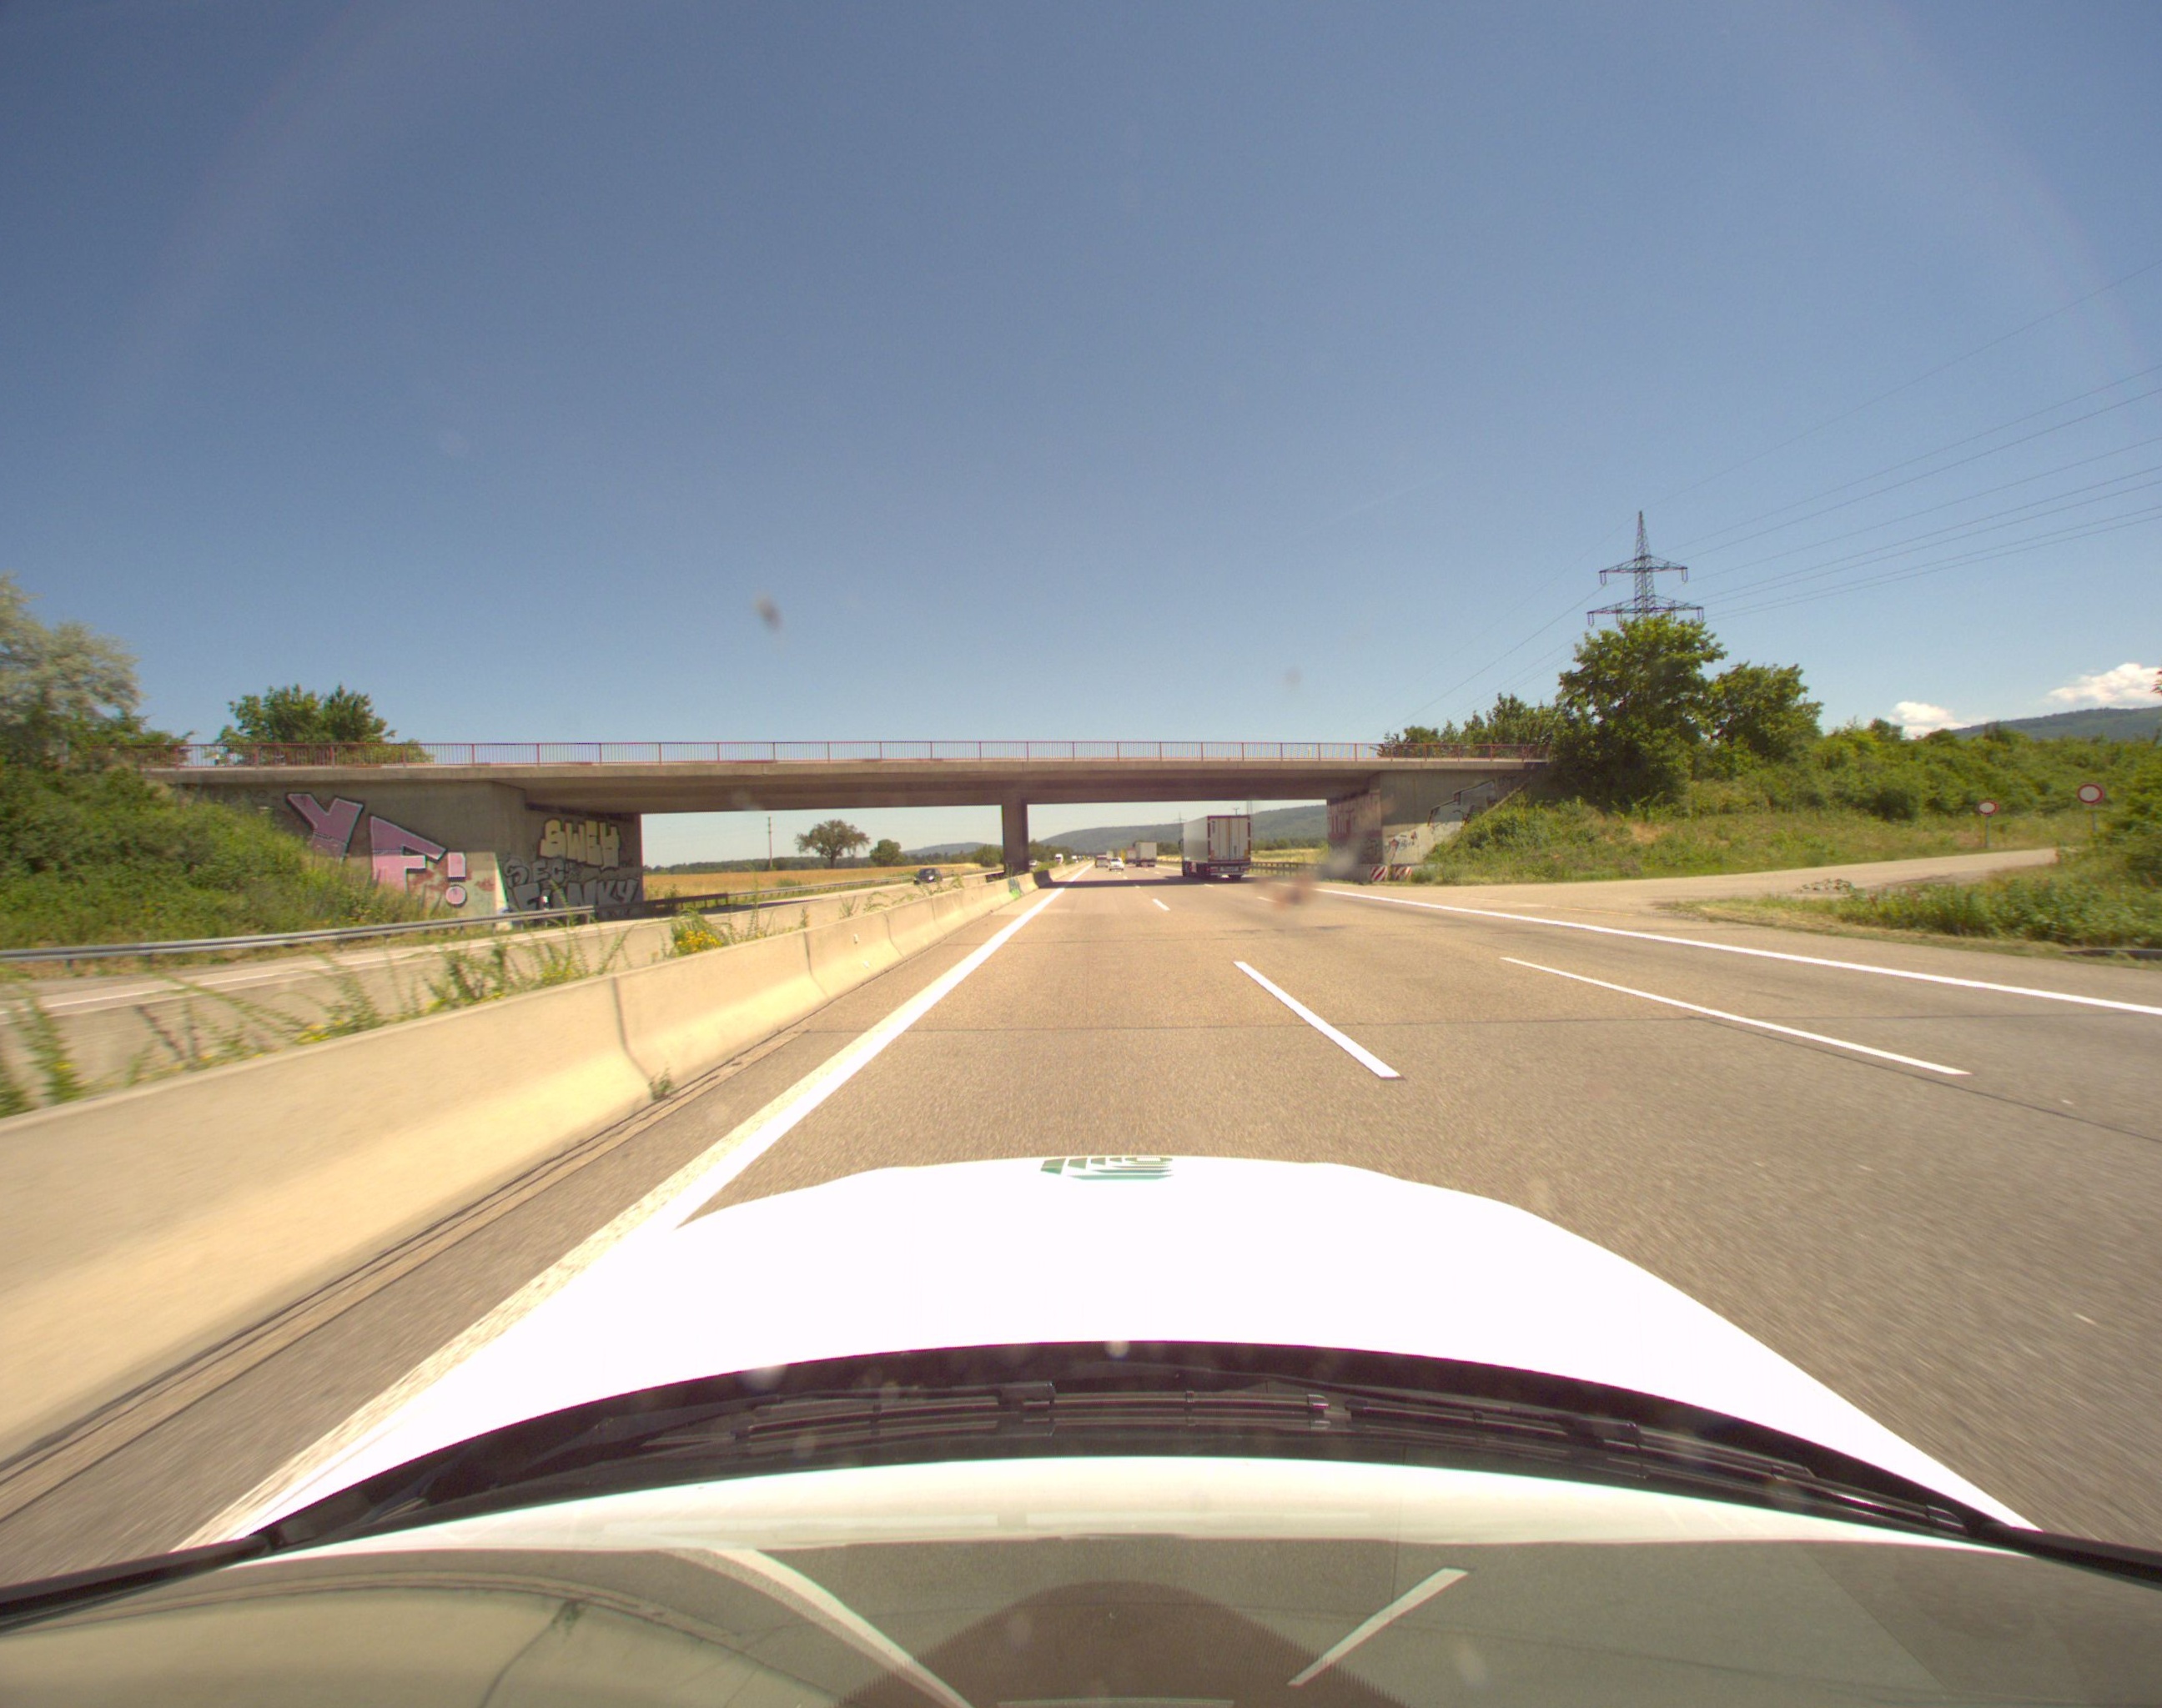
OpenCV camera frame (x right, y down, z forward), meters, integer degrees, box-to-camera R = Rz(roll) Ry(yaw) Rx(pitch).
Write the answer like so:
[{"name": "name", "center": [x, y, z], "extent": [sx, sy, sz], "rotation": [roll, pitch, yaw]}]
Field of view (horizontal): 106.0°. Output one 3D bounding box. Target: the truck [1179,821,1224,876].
[{"name": "truck", "center": [9.235, -0.403, 62.849], "extent": [2.740, 4.044, 5.467], "rotation": [0, -1, 1]}]

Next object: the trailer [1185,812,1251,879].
[{"name": "trailer", "center": [9.060, -0.461, 55.456], "extent": [2.699, 4.044, 12.905], "rotation": [0, 0, 2]}]

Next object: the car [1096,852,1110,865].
[{"name": "car", "center": [3.505, 0.738, 128.862], "extent": [2.246, 2.014, 4.299], "rotation": [0, -1, 2]}]

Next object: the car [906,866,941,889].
[{"name": "car", "center": [-11.936, 1.747, 61.809], "extent": [1.760, 1.618, 3.862], "rotation": [-3, 0, 1]}]

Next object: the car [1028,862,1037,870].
[{"name": "car", "center": [-12.466, 3.138, 211.312], "extent": [1.858, 1.944, 5.567], "rotation": [0, -1, 1]}]

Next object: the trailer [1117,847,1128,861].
[{"name": "trailer", "center": [13.254, 0.030, 260.855], "extent": [3.204, 4.564, 13.460], "rotation": [0, 0, 2]}]

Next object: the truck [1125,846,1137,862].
[{"name": "truck", "center": [12.482, 0.020, 203.644], "extent": [2.894, 4.101, 6.275], "rotation": [0, -1, 2]}]

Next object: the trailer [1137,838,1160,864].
[{"name": "trailer", "center": [10.969, -0.449, 133.124], "extent": [3.006, 4.061, 14.212], "rotation": [0, 0, 2]}]

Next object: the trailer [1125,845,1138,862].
[{"name": "trailer", "center": [12.304, -0.022, 198.363], "extent": [2.862, 4.101, 13.519], "rotation": [0, 0, 2]}]

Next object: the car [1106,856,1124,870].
[{"name": "car", "center": [4.067, 1.058, 96.274], "extent": [2.099, 1.536, 4.124], "rotation": [0, -1, 2]}]
